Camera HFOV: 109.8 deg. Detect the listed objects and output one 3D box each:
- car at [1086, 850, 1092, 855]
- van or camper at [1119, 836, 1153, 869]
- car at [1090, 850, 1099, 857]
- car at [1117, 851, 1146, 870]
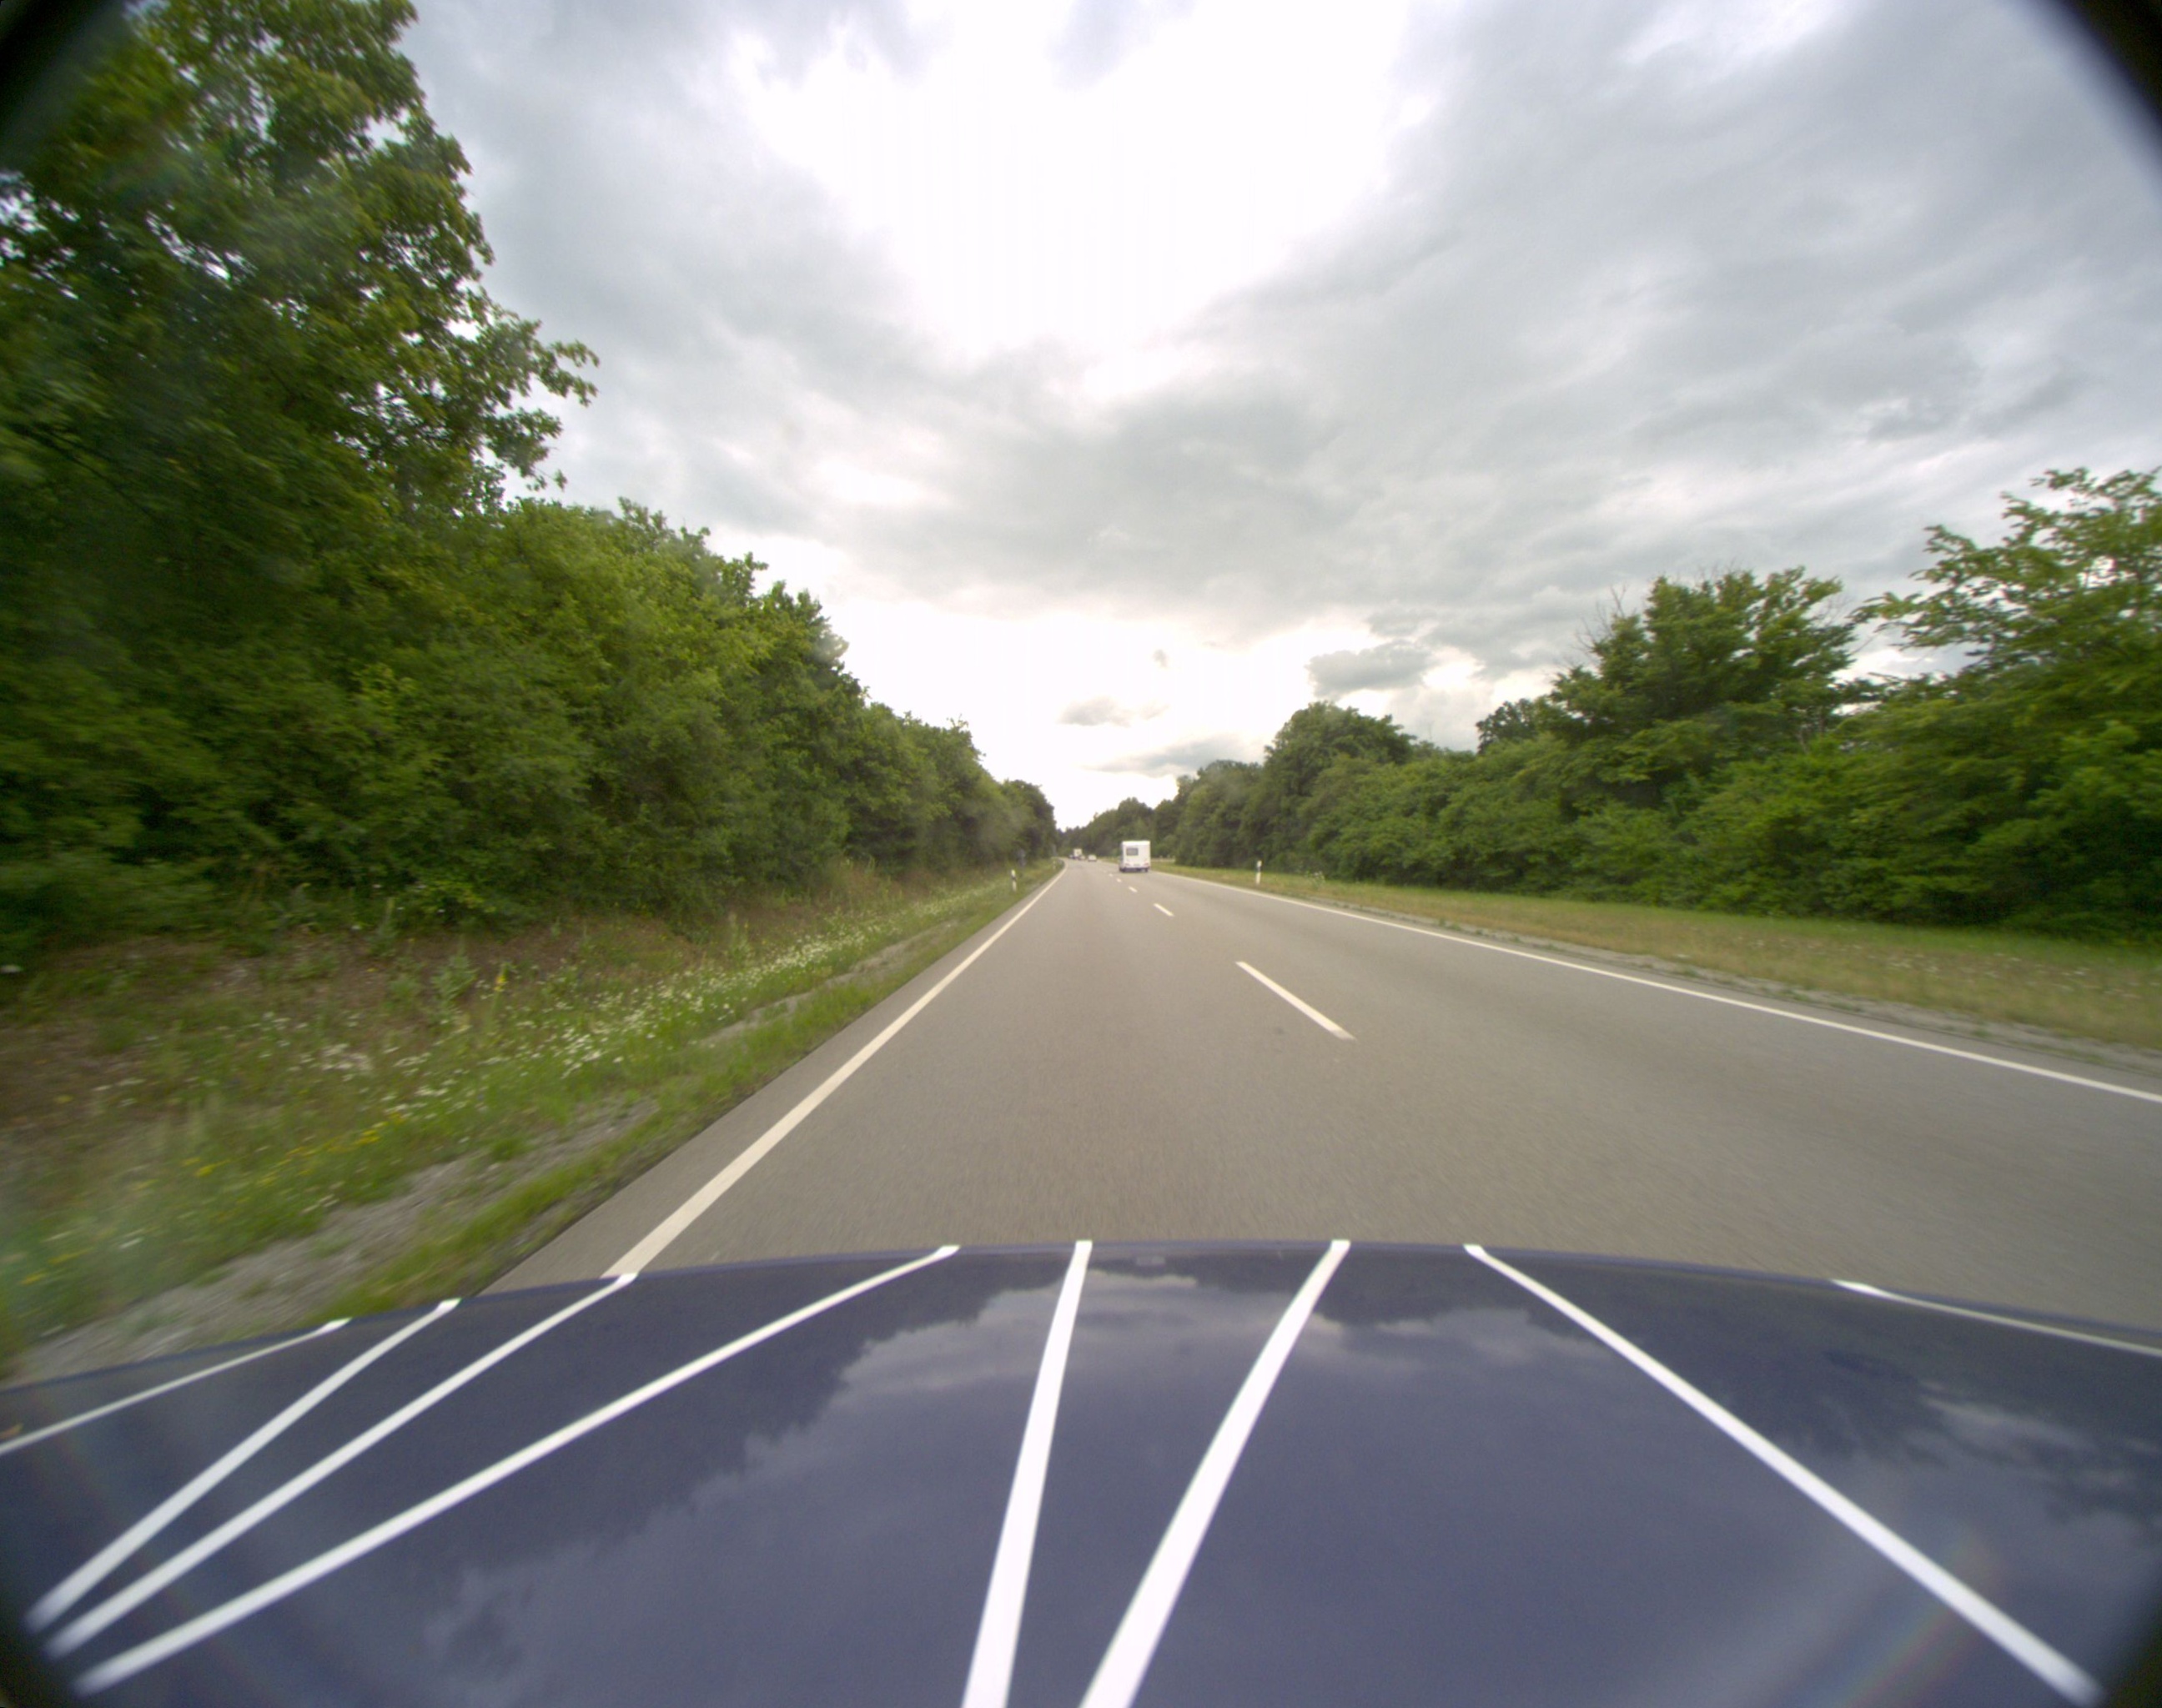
[{"bbox_3d":[2.246,-0.412,215.029,1.730,1.426,4.502,-2,0,-1],"label":"car"},{"bbox_3d":[4.559,-0.169,63.965,2.386,2.560,6.278,-2,1,0],"label":"van or camper"},{"bbox_3d":[3.139,-0.196,177.748,1.969,1.565,5.451,-2,0,-1],"label":"car"},{"bbox_3d":[4.608,0.548,69.472,2.284,1.594,4.691,-3,0,0],"label":"car"}]
